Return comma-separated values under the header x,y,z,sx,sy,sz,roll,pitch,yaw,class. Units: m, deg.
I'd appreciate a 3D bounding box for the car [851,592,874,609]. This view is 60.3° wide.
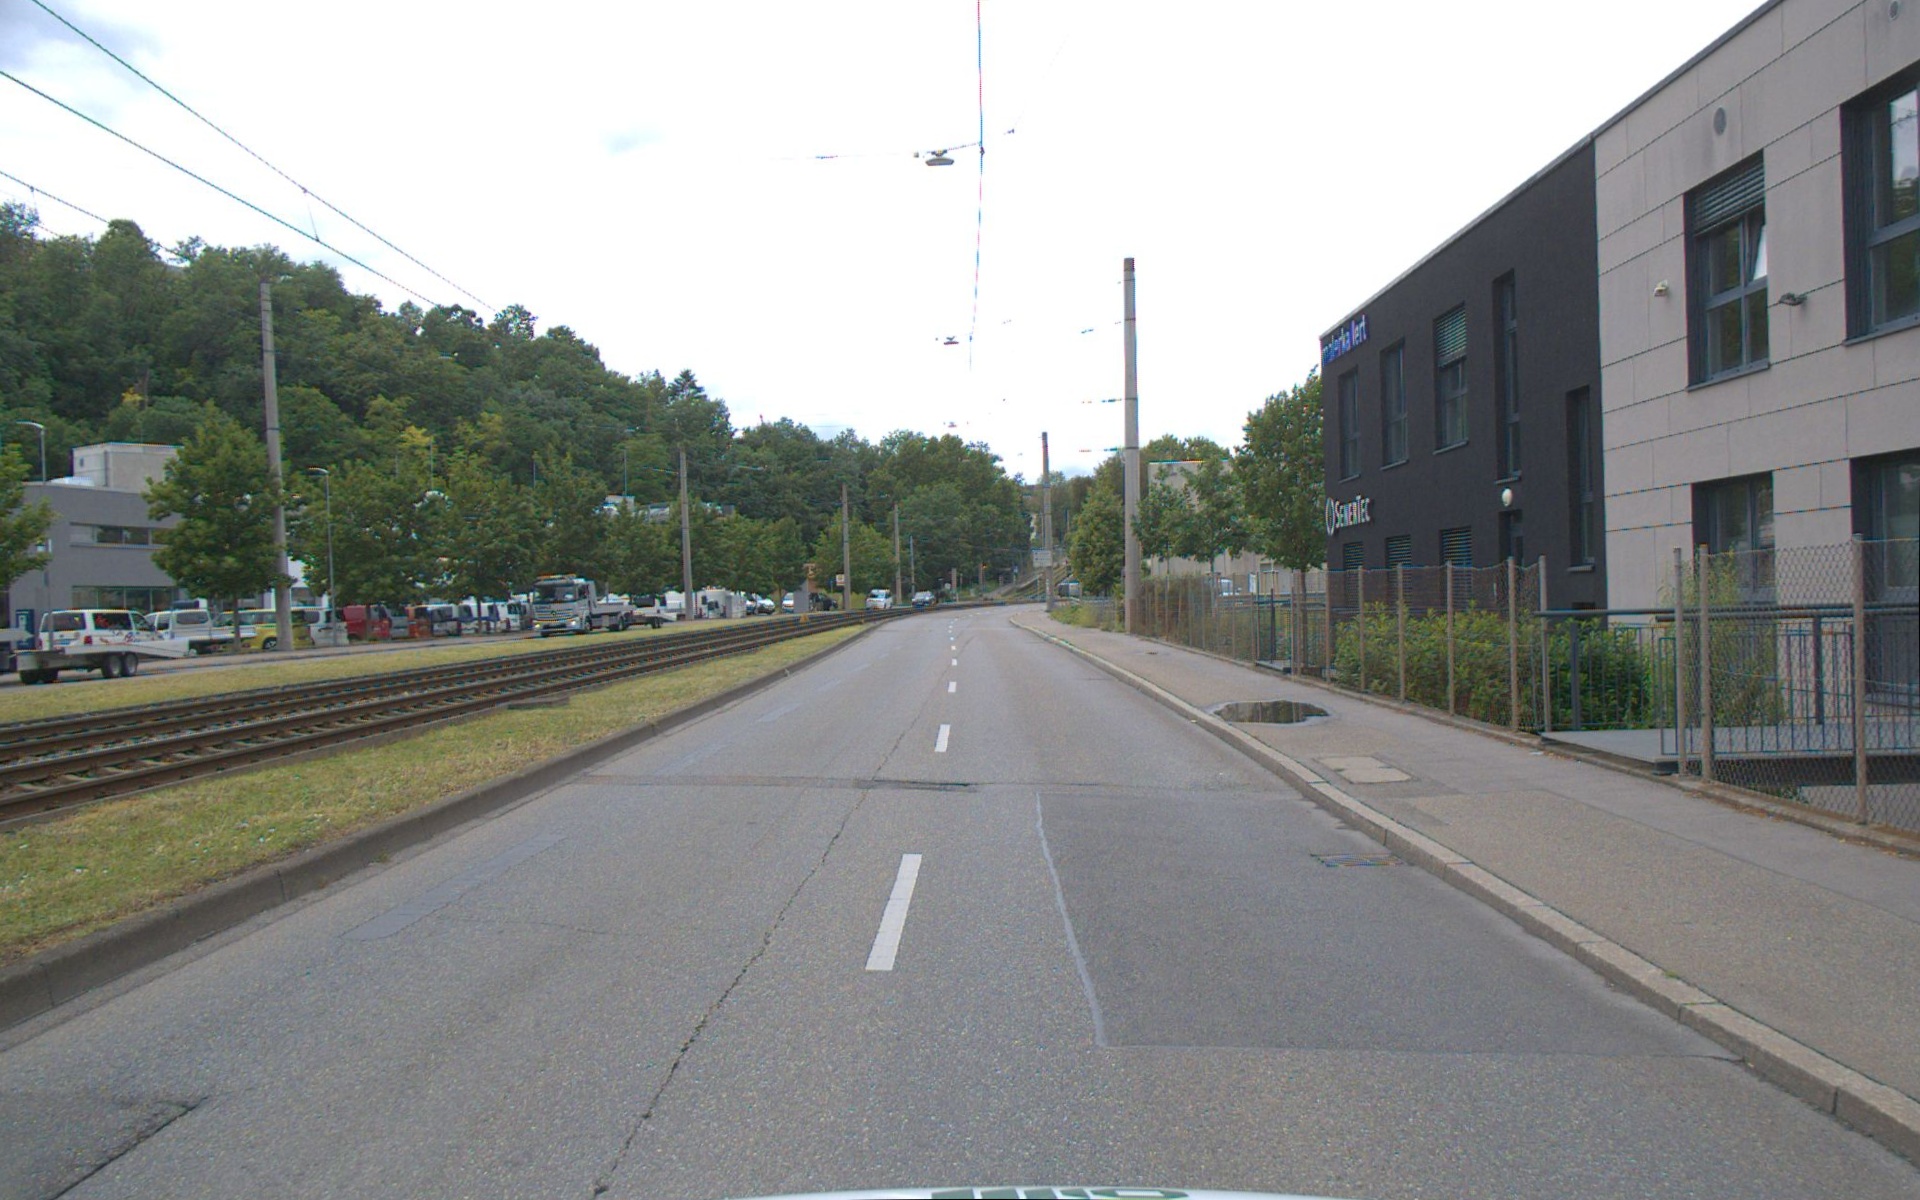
x,y,z,sx,sy,sz,roll,pitch,yaw,class
-9.503,0.041,161.781,1.952,1.668,4.000,-2,0,1,car

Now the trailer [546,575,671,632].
x,y,z,sx,sy,sz,roll,pitch,yaw,class
-17.606,0.128,83.685,2.830,2.628,10.003,-2,0,8,trailer

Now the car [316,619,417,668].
x,y,z,sx,sy,sz,roll,pitch,yaw,class
-27.442,2.031,76.493,3.903,2.049,2.000,-2,-3,3,car

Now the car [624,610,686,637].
x,y,z,sx,sy,sz,roll,pitch,yaw,class
-21.736,1.668,117.939,3.902,1.735,1.835,-2,1,7,car

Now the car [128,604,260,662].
x,y,z,sx,sy,sz,roll,pitch,yaw,class
-28.598,1.275,61.775,4.502,1.932,1.999,-3,-4,23,car

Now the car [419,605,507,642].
x,y,z,sx,sy,sz,roll,pitch,yaw,class
-25.844,1.210,86.083,3.902,1.735,1.835,-2,0,7,car

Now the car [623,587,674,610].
x,y,z,sx,sy,sz,roll,pitch,yaw,class
-26.403,-0.116,140.298,4.052,1.736,1.830,-1,-3,-8,car

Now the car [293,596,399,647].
x,y,z,sx,sy,sz,roll,pitch,yaw,class
-27.302,0.961,73.634,3.903,2.049,2.000,-2,-3,3,car

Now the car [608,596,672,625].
x,y,z,sx,sy,sz,roll,pitch,yaw,class
-21.772,0.695,112.616,3.902,1.736,1.835,-2,-3,7,car

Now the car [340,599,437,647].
x,y,z,sx,sy,sz,roll,pitch,yaw,class
-27.229,1.110,78.859,3.903,2.049,2.000,-2,-3,3,car

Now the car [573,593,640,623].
x,y,z,sx,sy,sz,roll,pitch,yaw,class
-23.259,0.520,108.989,3.902,1.736,1.835,-2,-3,7,car

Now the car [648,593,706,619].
x,y,z,sx,sy,sz,roll,pitch,yaw,class
-21.079,0.463,123.256,3.902,1.736,1.835,-2,-3,7,car

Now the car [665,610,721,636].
x,y,z,sx,sy,sz,roll,pitch,yaw,class
-20.492,1.763,127.009,3.902,1.736,1.835,-2,-3,7,car

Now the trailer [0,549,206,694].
x,y,z,sx,sy,sz,roll,pitch,yaw,class
-21.403,0.465,38.087,2.832,3.034,10.794,-2,0,2,trailer

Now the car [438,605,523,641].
x,y,z,sx,sy,sz,roll,pitch,yaw,class
-25.647,1.231,88.582,3.902,1.735,1.835,-2,1,7,car

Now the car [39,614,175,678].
x,y,z,sx,sy,sz,roll,pitch,yaw,class
-28.242,1.566,54.936,1.952,1.932,4.611,-2,-3,3,car

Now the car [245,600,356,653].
x,y,z,sx,sy,sz,roll,pitch,yaw,class
-28.062,1.157,70.455,3.903,2.049,2.000,-2,-3,3,car

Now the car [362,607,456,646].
x,y,z,sx,sy,sz,roll,pitch,yaw,class
-26.998,1.275,81.141,3.902,1.735,1.835,-2,0,7,car

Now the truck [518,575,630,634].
x,y,z,sx,sy,sz,roll,pitch,yaw,class
-18.291,0.175,78.770,2.822,2.634,6.917,-2,0,8,truck

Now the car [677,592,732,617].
x,y,z,sx,sy,sz,roll,pitch,yaw,class
-20.126,0.339,130.448,3.902,1.736,1.835,-2,-3,7,car

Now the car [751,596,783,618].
x,y,z,sx,sy,sz,roll,pitch,yaw,class
-17.857,0.673,153.156,1.789,1.736,4.145,-2,-3,11,car

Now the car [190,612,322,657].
x,y,z,sx,sy,sz,roll,pitch,yaw,class
-28.684,1.408,67.486,4.499,1.602,2.000,-2,-3,2,car

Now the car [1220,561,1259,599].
x,y,z,sx,sy,sz,roll,pitch,yaw,class
13.584,-0.974,80.375,1.789,1.735,3.809,-2,0,10,car

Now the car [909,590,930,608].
x,y,z,sx,sy,sz,roll,pitch,yaw,class
-3.983,-0.133,163.216,1.952,1.668,4.000,-2,0,1,car

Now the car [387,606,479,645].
x,y,z,sx,sy,sz,roll,pitch,yaw,class
-26.545,1.256,83.349,3.902,1.735,1.835,-2,1,7,car

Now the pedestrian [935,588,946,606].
x,y,z,sx,sy,sz,roll,pitch,yaw,class
-2.355,-0.321,198.292,0.992,2.049,1.146,-3,-4,16,pedestrian
